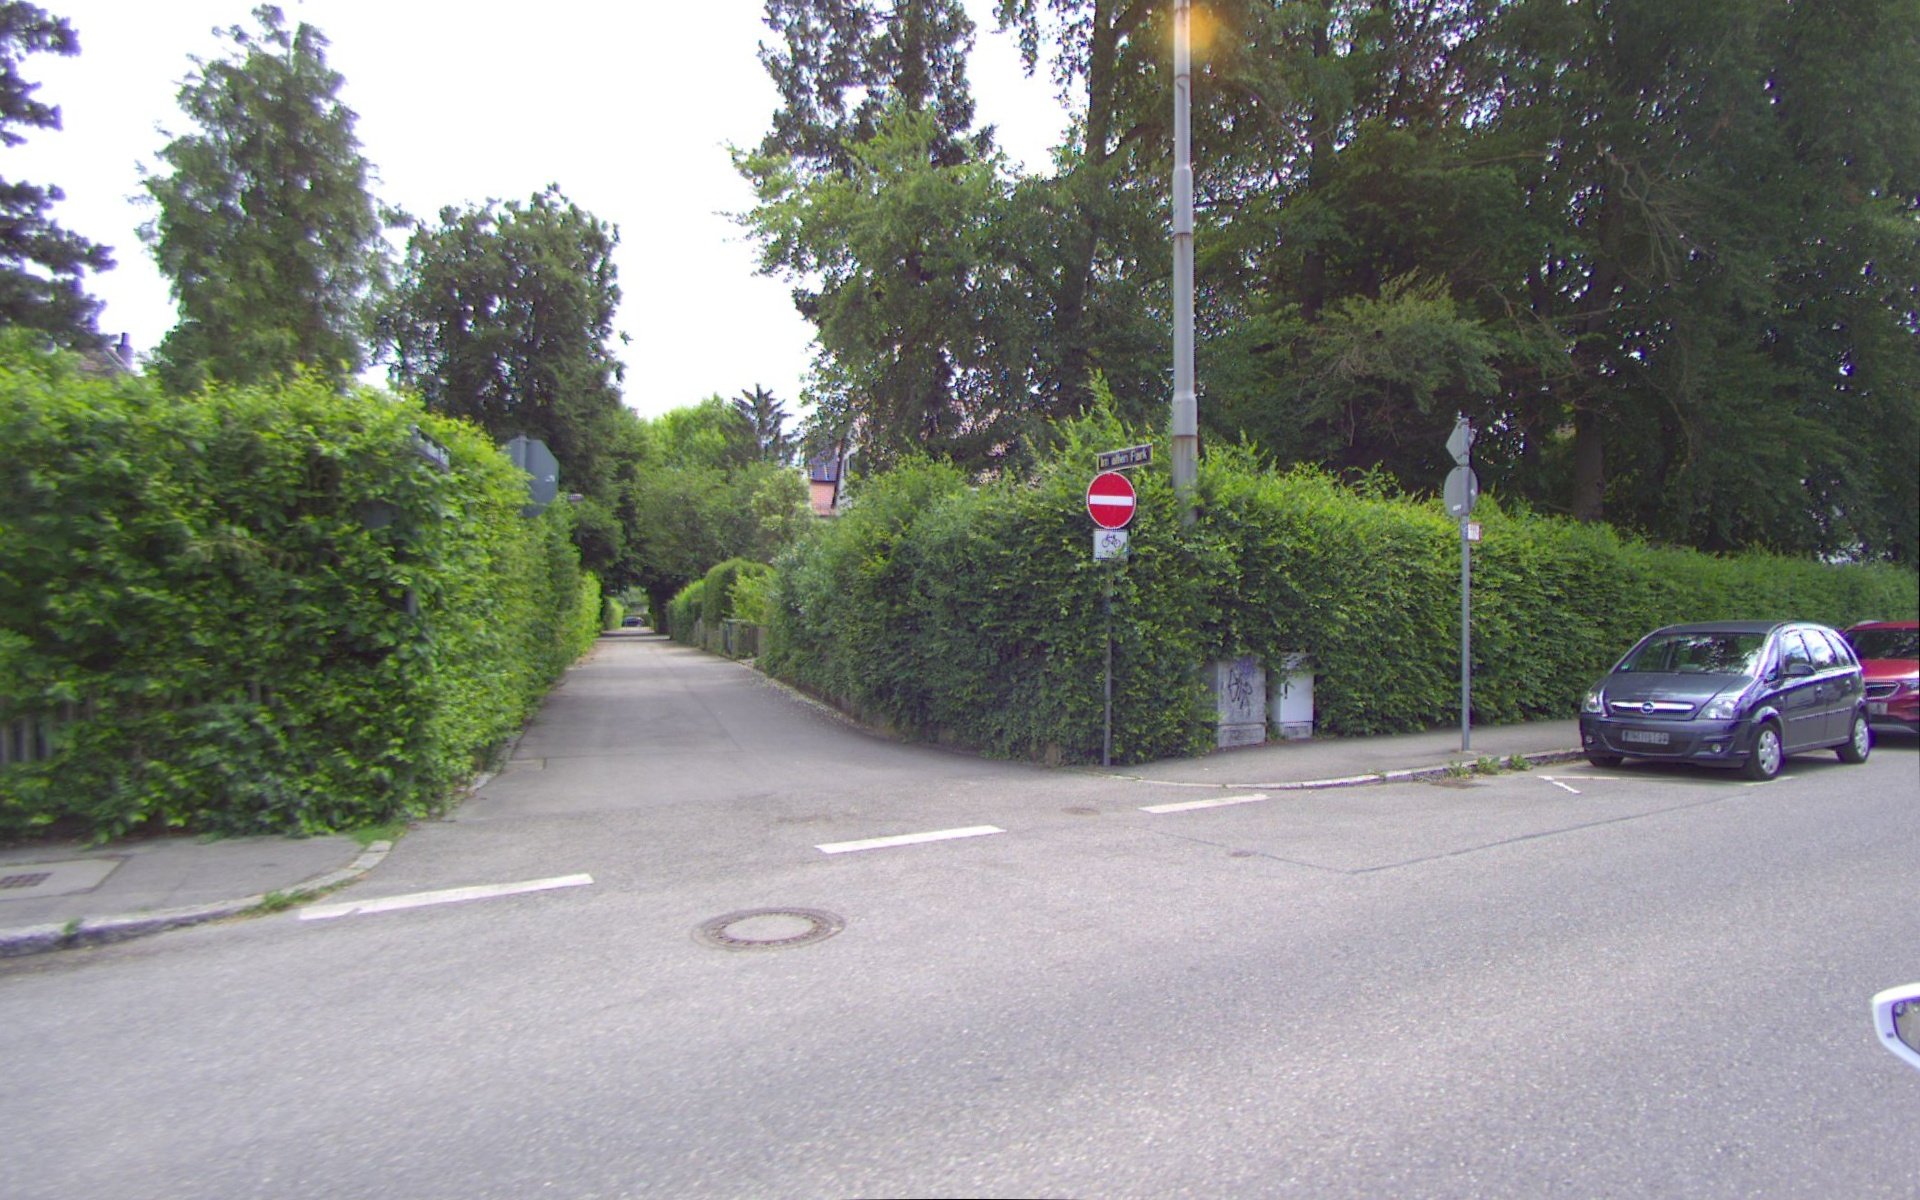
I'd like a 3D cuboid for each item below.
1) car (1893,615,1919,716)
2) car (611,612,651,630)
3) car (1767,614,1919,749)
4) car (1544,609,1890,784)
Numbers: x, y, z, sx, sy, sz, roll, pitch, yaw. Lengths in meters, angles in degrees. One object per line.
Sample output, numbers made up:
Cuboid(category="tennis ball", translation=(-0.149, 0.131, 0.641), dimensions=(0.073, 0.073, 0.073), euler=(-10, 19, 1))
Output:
Cuboid(category="car", translation=(17.806, 1.089, 17.197), dimensions=(3.773, 1.678, 1.752), euler=(1, -2, -32))
Cuboid(category="car", translation=(-36.004, 2.299, 109.886), dimensions=(3.979, 1.840, 1.857), euler=(1, -1, -26))
Cuboid(category="car", translation=(13.311, 1.061, 14.192), dimensions=(4.016, 1.678, 1.752), euler=(1, -2, -32))
Cuboid(category="car", translation=(8.608, 0.959, 11.343), dimensions=(4.139, 1.647, 1.752), euler=(1, -2, -32))
